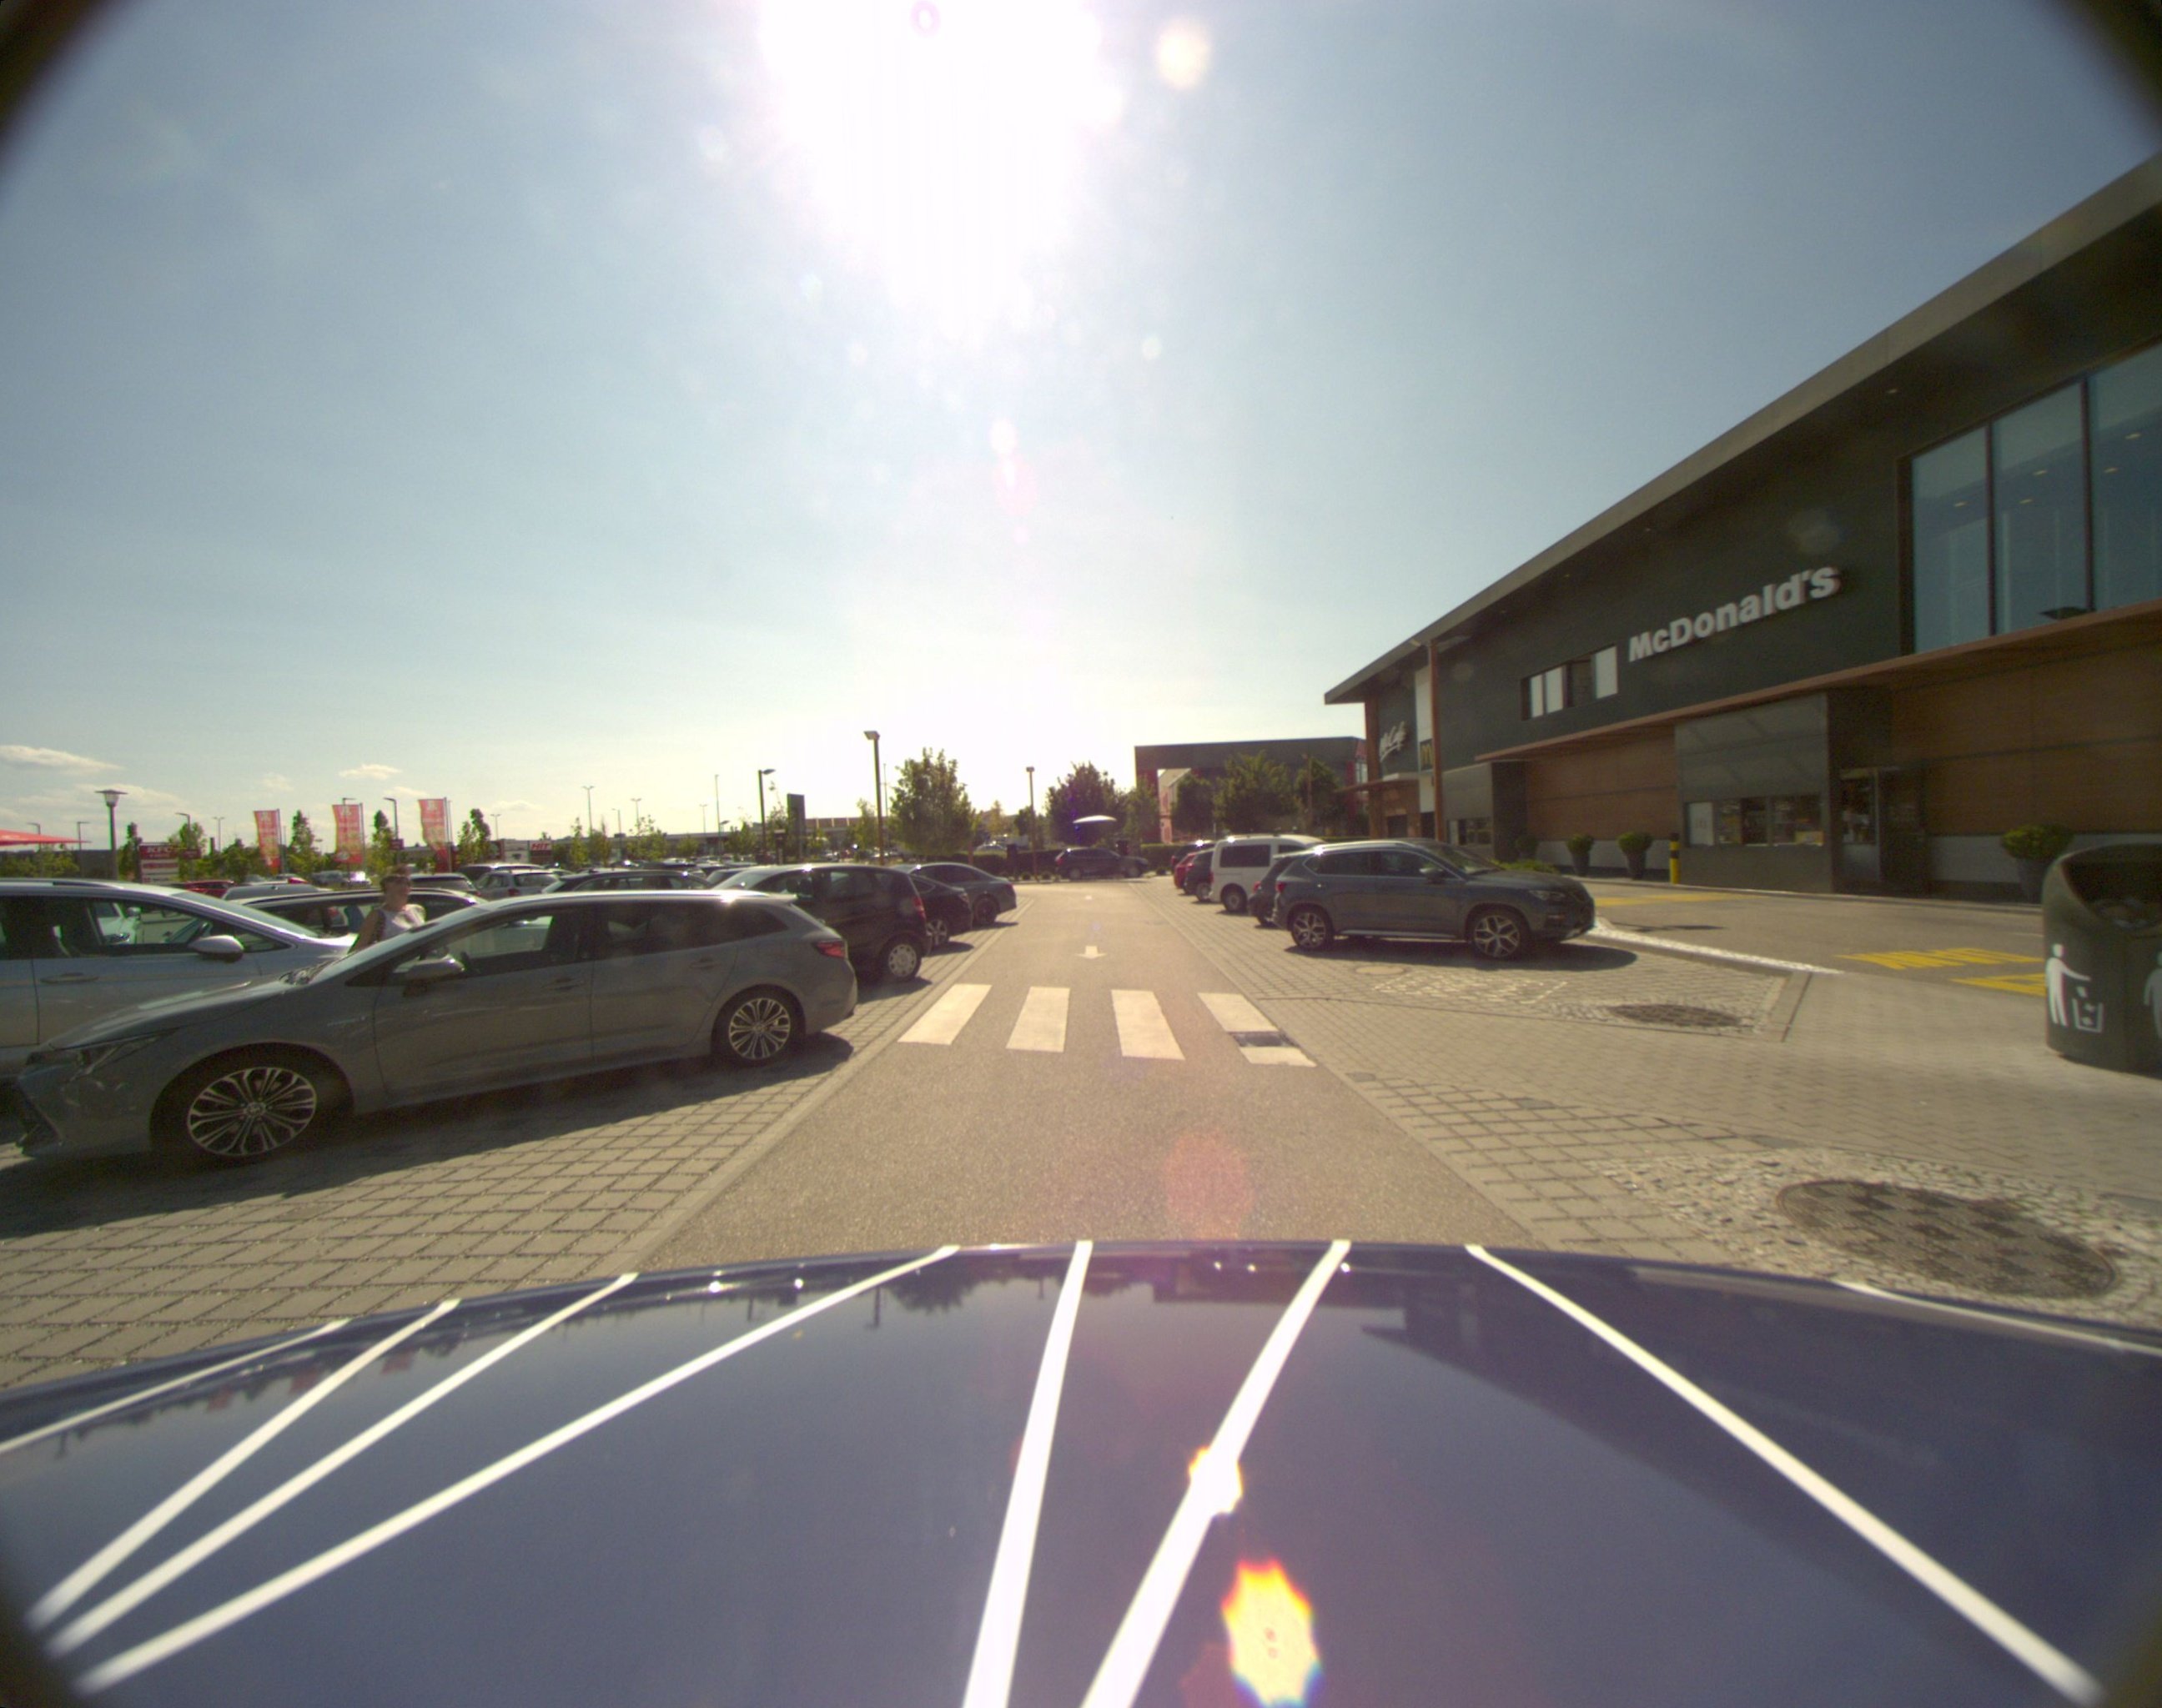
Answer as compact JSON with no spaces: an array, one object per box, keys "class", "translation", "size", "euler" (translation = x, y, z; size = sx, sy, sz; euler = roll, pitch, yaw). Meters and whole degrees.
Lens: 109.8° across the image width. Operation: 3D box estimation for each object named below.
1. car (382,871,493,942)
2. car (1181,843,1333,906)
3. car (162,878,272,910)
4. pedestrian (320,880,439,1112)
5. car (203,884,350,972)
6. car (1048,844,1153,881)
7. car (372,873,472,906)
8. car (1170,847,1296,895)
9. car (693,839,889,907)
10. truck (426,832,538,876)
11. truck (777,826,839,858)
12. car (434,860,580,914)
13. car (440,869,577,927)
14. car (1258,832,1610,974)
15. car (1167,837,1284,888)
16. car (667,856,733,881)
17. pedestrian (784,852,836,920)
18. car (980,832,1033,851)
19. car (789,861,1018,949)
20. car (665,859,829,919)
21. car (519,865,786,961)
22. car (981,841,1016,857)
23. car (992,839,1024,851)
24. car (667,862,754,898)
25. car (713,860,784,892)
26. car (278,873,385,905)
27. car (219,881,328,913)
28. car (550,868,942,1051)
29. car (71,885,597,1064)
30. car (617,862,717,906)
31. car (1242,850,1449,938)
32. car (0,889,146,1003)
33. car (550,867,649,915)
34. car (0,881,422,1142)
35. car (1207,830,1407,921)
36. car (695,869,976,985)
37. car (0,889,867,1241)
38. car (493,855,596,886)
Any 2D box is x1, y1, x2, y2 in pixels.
[{"class":"car","translation":[-16.122,1.221,18.970],"size":[1.824,1.480,3.989],"euler":[-3,1,-44]},{"class":"car","translation":[5.025,0.579,21.835],"size":[3.834,1.623,1.761],"euler":[-1,1,34]},{"class":"car","translation":[-49.031,2.257,43.227],"size":[1.685,1.503,3.757],"euler":[-2,1,8]},{"class":"pedestrian","translation":[-5.598,1.080,6.102],"size":[0.564,1.703,0.609],"euler":[-3,2,-36]},{"class":"car","translation":[-16.316,1.394,15.571],"size":[1.824,1.395,3.989],"euler":[-3,1,-44]},{"class":"car","translation":[0.947,0.421,38.067],"size":[5.061,1.620,1.924],"euler":[-2,1,-1]},{"class":"car","translation":[-34.835,1.846,40.287],"size":[1.685,1.445,3.757],"euler":[-2,1,8]},{"class":"car","translation":[5.087,0.569,25.459],"size":[3.763,1.435,1.678],"euler":[-2,1,29]},{"class":"car","translation":[-7.683,0.436,20.393],"size":[4.425,1.502,1.978],"euler":[-3,1,-43]},{"class":"truck","translation":[-57.690,0.007,73.249],"size":[9.115,3.844,3.212],"euler":[-2,1,12]},{"class":"truck","translation":[-30.896,-1.318,85.754],"size":[7.544,3.333,2.426],"euler":[-1,2,34]},{"class":"car","translation":[-21.659,1.183,28.956],"size":[2.071,1.740,4.367],"euler":[-2,1,2]},{"class":"car","translation":[-17.052,1.260,22.584],"size":[4.340,1.503,1.782],"euler":[-2,1,32]},{"class":"car","translation":[4.969,0.670,11.117],"size":[1.794,1.594,4.216],"euler":[-6,2,-45]},{"class":"car","translation":[5.483,0.319,28.799],"size":[4.030,1.696,1.677],"euler":[-2,1,23]},{"class":"car","translation":[-33.715,1.264,67.202],"size":[5.012,2.002,2.001],"euler":[-1,2,14]},{"class":"pedestrian","translation":[-7.837,0.912,21.994],"size":[1.027,1.905,0.903],"euler":[-2,1,13]},{"class":"car","translation":[-9.660,-1.638,98.510],"size":[6.567,2.231,2.300],"euler":[-2,1,0]},{"class":"car","translation":[-3.784,1.008,16.810],"size":[4.551,1.502,1.882],"euler":[-3,1,-43]},{"class":"car","translation":[-9.529,0.936,21.840],"size":[3.911,1.418,1.702],"euler":[-3,1,-42]},{"class":"car","translation":[-8.771,1.091,15.801],"size":[4.425,1.502,1.978],"euler":[-3,1,-43]},{"class":"car","translation":[-9.766,-0.576,90.413],"size":[3.998,1.718,1.893],"euler":[-2,1,-3]},{"class":"car","translation":[-9.182,-1.170,95.649],"size":[3.905,1.334,1.665],"euler":[-2,1,0]},{"class":"car","translation":[-16.348,1.118,33.491],"size":[4.075,1.414,1.801],"euler":[-1,1,39]},{"class":"car","translation":[-16.538,1.077,37.728],"size":[3.765,1.414,1.917],"euler":[-1,1,44]},{"class":"car","translation":[-40.081,1.846,40.740],"size":[1.685,1.445,3.757],"euler":[-2,1,8]},{"class":"car","translation":[-44.564,2.326,42.050],"size":[1.685,1.445,3.757],"euler":[-2,1,8]},{"class":"car","translation":[-3.955,1.064,9.392],"size":[4.007,1.584,1.807],"euler":[-3,1,-43]},{"class":"car","translation":[-8.372,1.187,9.019],"size":[4.090,1.400,1.788],"euler":[-2,1,-45]},{"class":"car","translation":[-16.350,1.158,29.952],"size":[4.044,1.547,1.810],"euler":[-1,1,36]},{"class":"car","translation":[5.063,0.728,14.705],"size":[3.406,1.473,1.571],"euler":[-2,1,39]},{"class":"car","translation":[-16.761,1.397,12.270],"size":[4.459,1.463,1.918],"euler":[-1,1,41]},{"class":"car","translation":[-16.461,1.198,25.887],"size":[4.669,1.403,1.715],"euler":[-1,1,44]},{"class":"car","translation":[-7.836,1.135,5.812],"size":[4.075,1.630,1.743],"euler":[-2,1,-44]},{"class":"car","translation":[5.288,0.471,18.030],"size":[4.133,1.910,1.761],"euler":[-1,2,40]},{"class":"car","translation":[-4.019,1.086,12.865],"size":[4.083,1.440,1.823],"euler":[-3,1,-43]},{"class":"car","translation":[-4.197,1.090,5.630],"size":[4.672,1.438,1.830],"euler":[-1,0,-43]},{"class":"car","translation":[-27.205,0.799,38.704],"size":[1.886,1.390,4.157],"euler":[-2,1,8]}]
